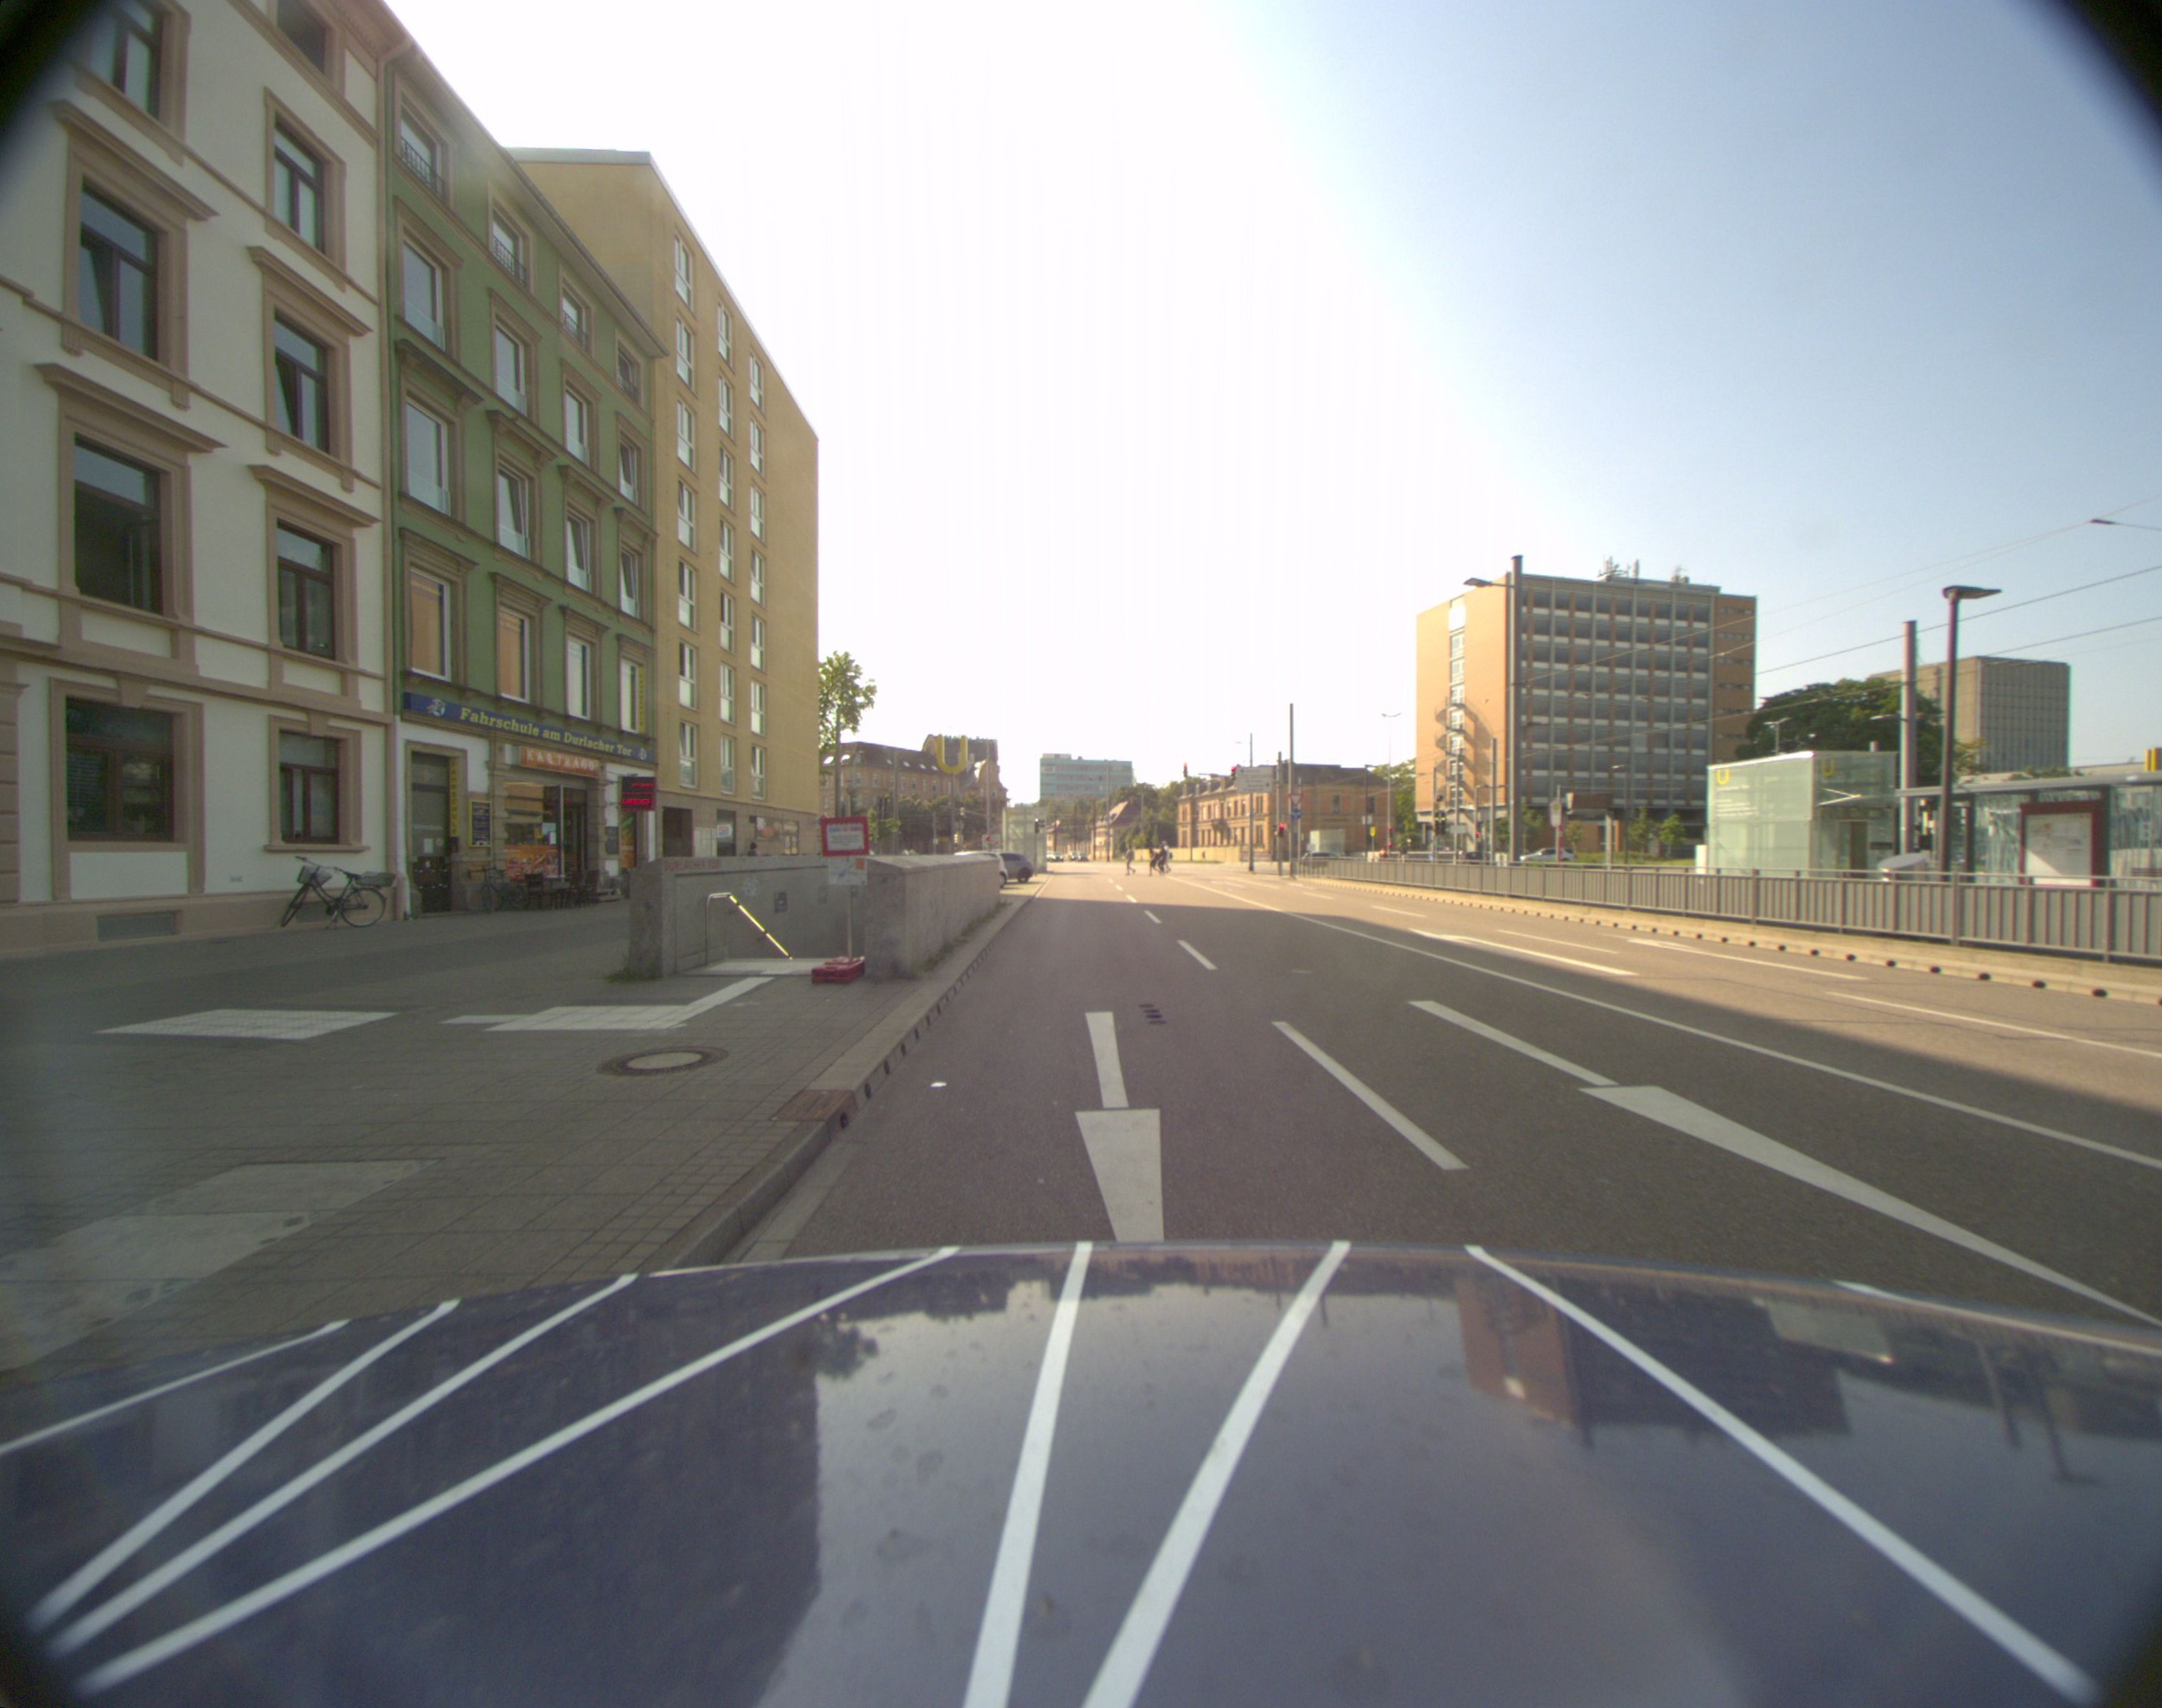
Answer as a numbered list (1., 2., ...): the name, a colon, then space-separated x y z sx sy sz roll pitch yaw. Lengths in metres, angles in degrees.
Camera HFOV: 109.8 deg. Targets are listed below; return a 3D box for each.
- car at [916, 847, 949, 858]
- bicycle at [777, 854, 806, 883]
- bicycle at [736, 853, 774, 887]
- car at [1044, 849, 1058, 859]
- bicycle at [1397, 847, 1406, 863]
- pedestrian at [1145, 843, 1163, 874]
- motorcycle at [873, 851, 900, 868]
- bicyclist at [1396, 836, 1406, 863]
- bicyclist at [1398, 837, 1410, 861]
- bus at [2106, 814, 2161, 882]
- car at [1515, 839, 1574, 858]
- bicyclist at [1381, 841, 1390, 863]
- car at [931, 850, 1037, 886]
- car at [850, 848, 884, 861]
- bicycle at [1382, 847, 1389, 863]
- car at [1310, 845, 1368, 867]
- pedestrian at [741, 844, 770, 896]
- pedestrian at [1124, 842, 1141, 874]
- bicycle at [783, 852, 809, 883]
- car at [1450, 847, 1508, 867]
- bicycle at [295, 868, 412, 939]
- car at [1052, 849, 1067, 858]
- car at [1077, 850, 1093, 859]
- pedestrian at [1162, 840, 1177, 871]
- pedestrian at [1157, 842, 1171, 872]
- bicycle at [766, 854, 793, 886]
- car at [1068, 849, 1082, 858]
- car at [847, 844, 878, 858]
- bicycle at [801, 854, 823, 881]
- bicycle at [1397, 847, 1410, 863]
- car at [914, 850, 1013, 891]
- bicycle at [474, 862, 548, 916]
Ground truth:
1. car: -20.581 -0.209 105.070 4.279 1.456 1.677 0 -1 24
2. bicycle: -12.838 0.632 33.732 0.604 1.254 1.848 0 1 -1
3. bicycle: -12.438 0.578 29.049 0.604 1.254 1.997 0 1 0
4. car: -4.940 -0.066 126.676 1.927 1.627 3.996 0 1 -8
5. bicycle: 23.706 0.060 56.212 0.376 1.158 1.861 0 0 15
6. pedestrian: 3.787 0.238 39.577 0.810 1.539 0.548 2 1 1
7. motorcycle: -12.965 0.353 50.763 0.704 1.140 2.304 0 1 16
8. bicyclist: 23.738 -0.316 56.333 0.580 1.963 0.808 0 0 14
9. bicyclist: 22.466 -0.335 52.791 0.588 1.647 0.791 0 1 11
10. bus: 59.399 -0.283 35.522 13.276 3.399 3.232 1 1 43
11. car: 42.691 -0.491 70.112 4.281 1.696 1.955 0 -1 16
12. bicyclist: 22.570 -0.148 56.395 0.511 1.620 0.808 0 0 14
13. car: -4.264 0.570 33.907 4.418 1.415 1.842 -1 1 -42
14. car: -24.503 0.006 87.011 3.621 1.433 1.807 0 1 31
15. bicycle: 22.602 0.064 56.449 0.311 1.158 1.501 0 0 15
16. car: 21.880 0.132 64.477 4.564 1.842 2.003 0 1 22
17. pedestrian: -10.449 0.502 24.389 0.610 1.620 0.737 0 1 0
18. pedestrian: 2.818 0.228 41.394 0.816 1.683 0.651 2 1 0
19. bicycle: -11.908 0.554 31.849 0.604 1.254 1.995 0 1 -8
20. car: 32.329 0.239 61.783 3.990 1.587 2.003 0 1 23
21. bicycle: -12.707 0.832 13.340 0.384 1.127 1.719 0 1 0
22. car: -3.282 -0.077 116.335 1.927 1.368 3.996 0 1 -8
23. car: 0.589 0.024 113.221 1.693 1.319 3.996 0 1 -8
24. pedestrian: 5.204 0.079 44.656 0.834 1.778 0.729 3 1 7
25. pedestrian: 4.529 0.157 41.461 0.634 1.588 0.467 2 1 -2
26. bicycle: -12.556 0.642 31.657 0.604 1.254 1.995 0 1 -8
27. car: -1.005 -0.111 119.835 1.693 1.319 3.996 0 1 -8
28. car: -31.866 -0.414 110.930 4.278 1.875 1.798 0 -1 27
29. bicycle: -12.986 0.659 36.706 0.470 1.254 1.636 0 1 -1
30. bicycle: 22.442 0.045 52.904 0.402 1.103 1.748 0 1 10
31. car: -4.602 0.596 29.943 3.535 1.455 1.618 -1 2 -42
32. bicycle: -12.885 0.771 17.233 0.384 1.127 1.719 0 1 0
